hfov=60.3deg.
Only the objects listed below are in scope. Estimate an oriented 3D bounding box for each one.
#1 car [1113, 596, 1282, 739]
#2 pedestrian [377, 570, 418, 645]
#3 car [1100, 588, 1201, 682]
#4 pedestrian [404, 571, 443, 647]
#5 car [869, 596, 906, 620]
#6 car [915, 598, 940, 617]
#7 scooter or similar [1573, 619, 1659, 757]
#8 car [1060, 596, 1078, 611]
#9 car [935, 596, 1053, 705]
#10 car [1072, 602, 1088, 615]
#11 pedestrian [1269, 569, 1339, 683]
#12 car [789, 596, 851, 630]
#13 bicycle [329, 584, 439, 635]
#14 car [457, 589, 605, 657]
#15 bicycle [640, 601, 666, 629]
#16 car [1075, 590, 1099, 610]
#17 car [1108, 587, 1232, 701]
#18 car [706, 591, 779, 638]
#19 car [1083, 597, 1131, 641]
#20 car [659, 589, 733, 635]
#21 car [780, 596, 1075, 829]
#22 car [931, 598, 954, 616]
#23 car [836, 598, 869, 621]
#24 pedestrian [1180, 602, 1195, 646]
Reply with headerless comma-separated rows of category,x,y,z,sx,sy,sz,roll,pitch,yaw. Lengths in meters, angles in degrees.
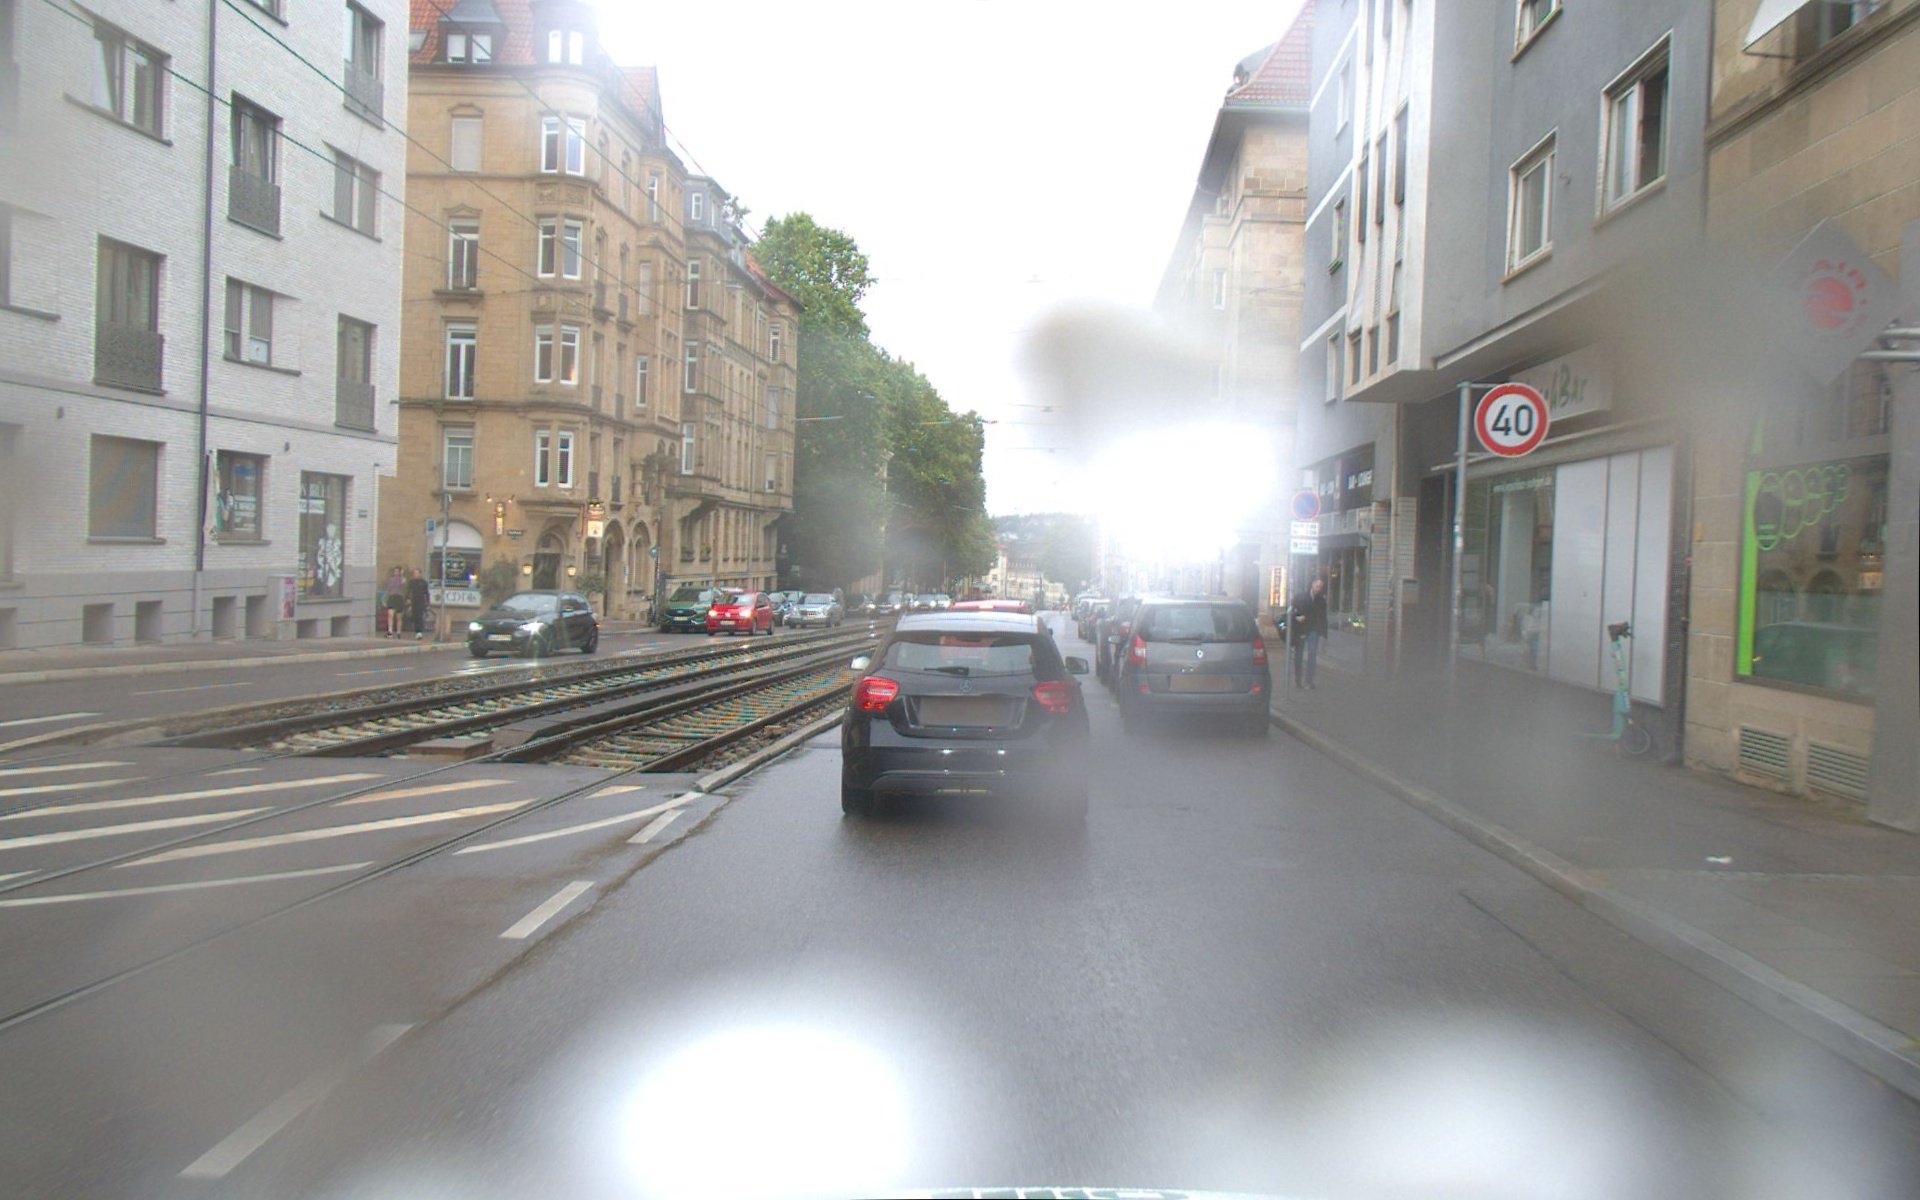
car,2.888,0.758,20.946,1.728,1.586,4.747,1,0,4
pedestrian,-13.750,0.196,40.430,0.627,1.818,0.924,0,-2,3
car,3.672,0.631,32.554,1.713,1.699,4.705,1,0,4
pedestrian,-13.113,0.226,40.421,0.616,1.818,0.882,0,-2,3
car,-4.238,0.460,97.145,1.659,1.413,3.483,0,0,5
car,-2.439,0.565,125.009,1.536,1.438,3.483,0,0,5
scooter or similar,6.210,0.813,15.702,0.387,1.237,1.107,1,0,2
car,10.028,0.338,152.313,1.579,1.340,4.002,1,0,4
car,0.592,0.705,25.276,1.615,1.477,4.002,2,0,3
car,12.533,0.869,172.347,1.580,1.340,4.002,3,0,4
pedestrian,5.601,0.414,26.946,0.925,1.800,1.015,1,0,2
car,-5.872,0.530,69.899,1.768,1.384,4.766,0,0,5
bicycle,-18.542,0.296,53.342,3.087,1.612,1.595,1,0,-8
car,-9.395,0.485,36.604,1.907,1.421,4.276,0,0,4
bicycle,-11.295,0.552,60.946,0.586,1.018,2.079,0,0,-1
car,8.880,0.009,115.550,1.579,1.340,4.002,1,0,4
car,3.334,0.655,26.869,1.647,1.699,4.124,1,0,3
car,-7.335,0.481,56.080,1.645,1.523,3.521,0,0,6
car,5.233,0.641,59.150,1.588,1.511,4.002,1,0,4
car,-9.481,0.414,59.683,1.686,1.568,3.936,0,0,5
car,-0.081,0.729,12.899,1.827,1.477,4.003,2,0,5
car,-1.490,0.598,141.959,1.536,1.438,3.483,0,0,5
car,-6.762,0.572,104.368,1.536,1.438,3.483,0,0,5
pedestrian,7.725,0.816,56.182,0.445,1.492,0.611,1,0,3
